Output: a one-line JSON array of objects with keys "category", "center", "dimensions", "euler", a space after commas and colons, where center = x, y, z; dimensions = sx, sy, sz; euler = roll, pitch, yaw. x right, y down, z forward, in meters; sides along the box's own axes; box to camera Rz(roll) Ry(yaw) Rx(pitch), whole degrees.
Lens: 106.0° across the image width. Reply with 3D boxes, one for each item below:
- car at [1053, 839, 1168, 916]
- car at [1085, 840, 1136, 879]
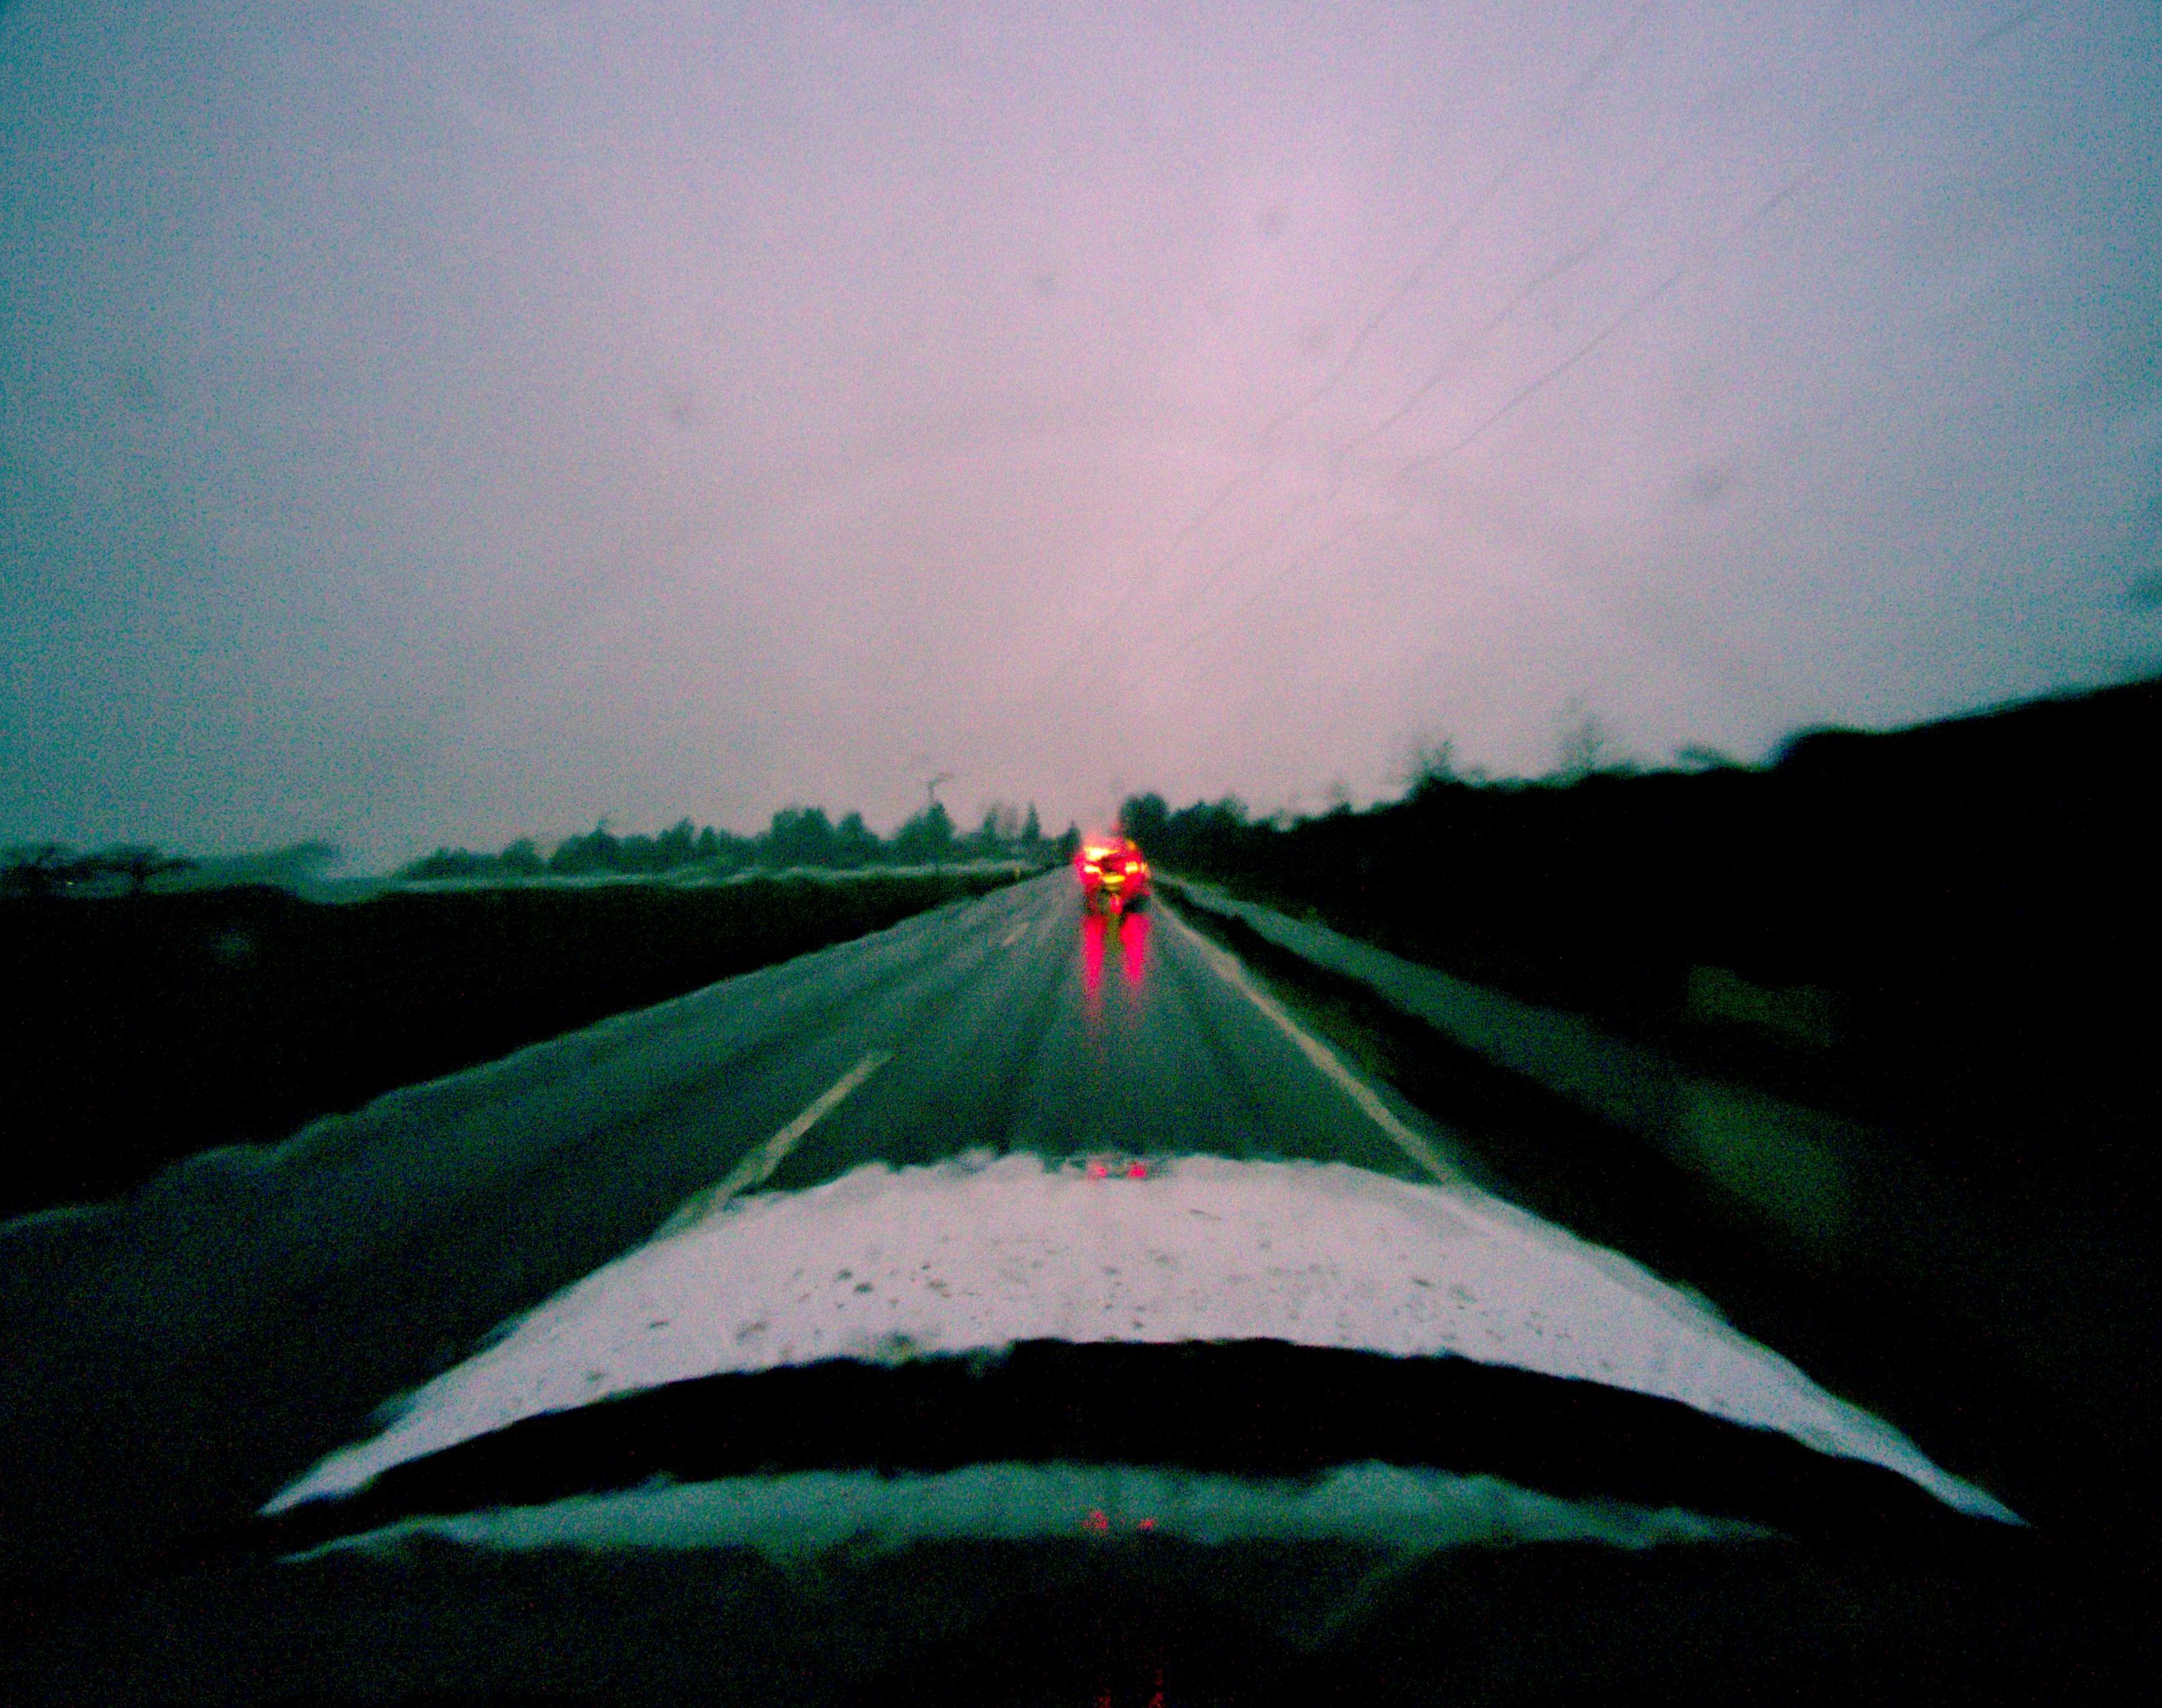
[{"category": "car", "center": [0.965, 0.645, 26.290], "dimensions": [3.152, 2.035, 6.856], "euler": [-2, 0, 2]}, {"category": "car", "center": [1.761, 0.305, 47.824], "dimensions": [2.745, 2.035, 6.595], "euler": [-2, 0, 2]}]
